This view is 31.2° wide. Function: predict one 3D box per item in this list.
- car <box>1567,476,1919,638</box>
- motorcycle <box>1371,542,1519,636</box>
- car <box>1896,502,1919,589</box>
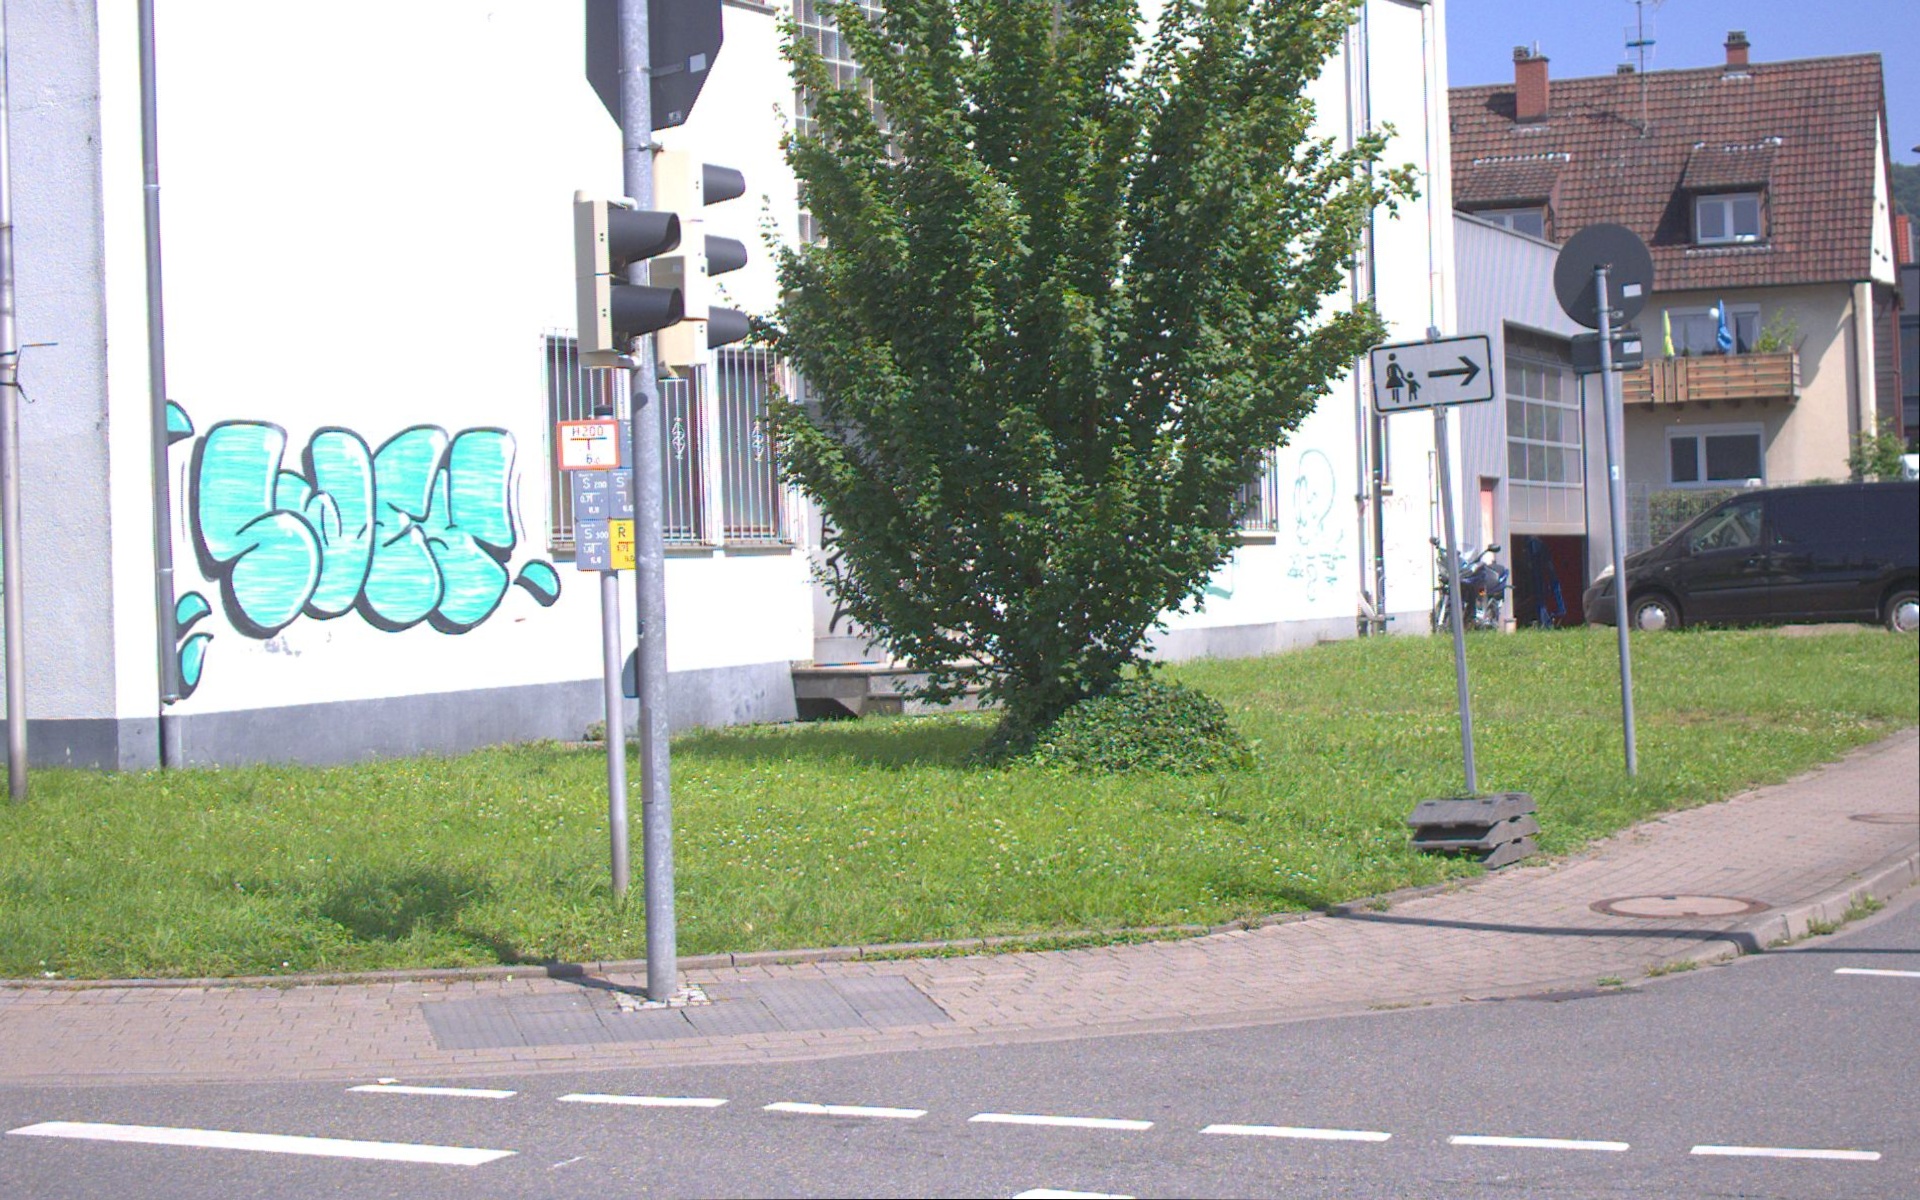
[{"bbox_3d":[10.320,-0.526,42.265,5.254,1.810,1.998,-2,0,23],"label":"car"},{"bbox_3d":[5.502,-0.111,38.851,0.853,1.028,2.563,1,0,27],"label":"motorcycle"},{"bbox_3d":[16.954,-0.853,54.743,3.725,1.367,1.602,1,0,26],"label":"car"}]
